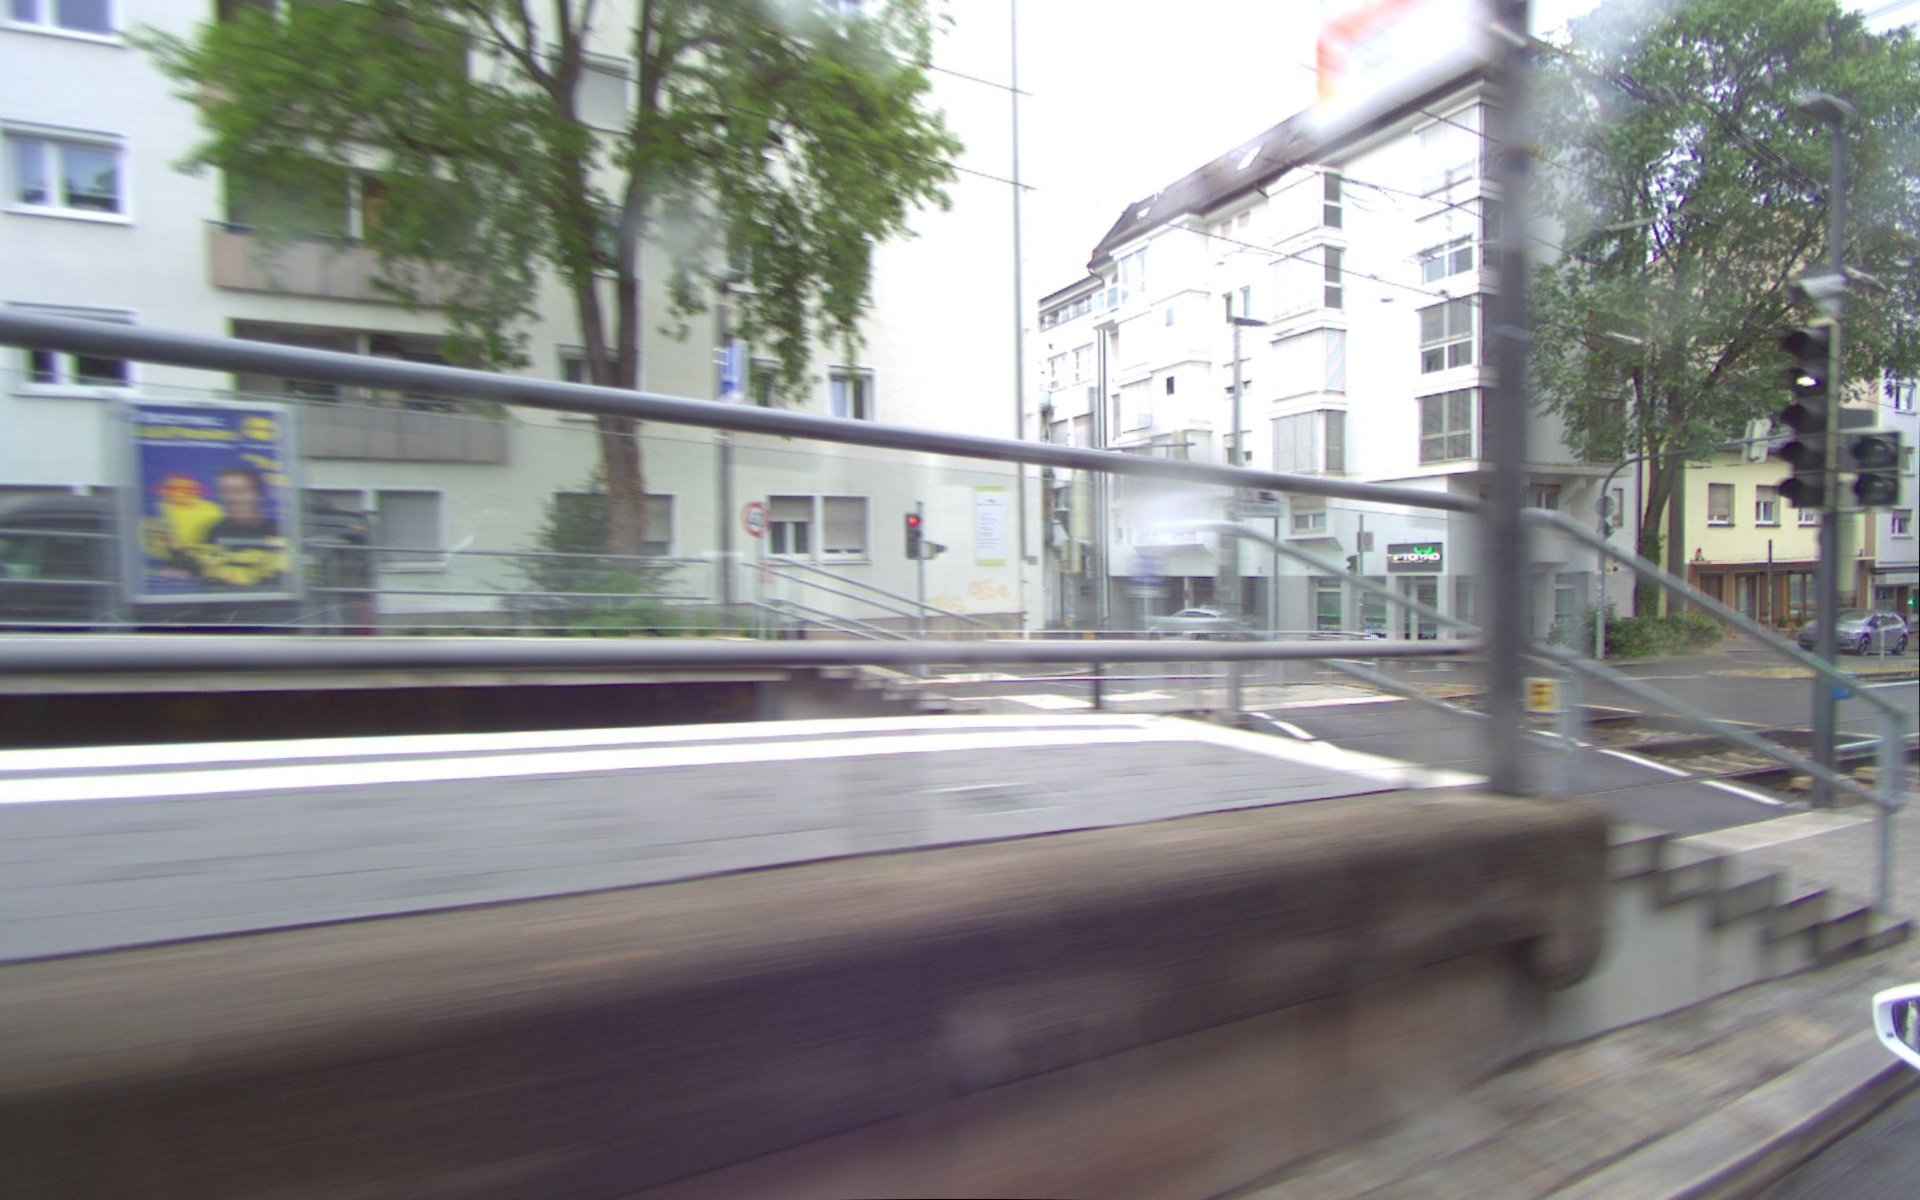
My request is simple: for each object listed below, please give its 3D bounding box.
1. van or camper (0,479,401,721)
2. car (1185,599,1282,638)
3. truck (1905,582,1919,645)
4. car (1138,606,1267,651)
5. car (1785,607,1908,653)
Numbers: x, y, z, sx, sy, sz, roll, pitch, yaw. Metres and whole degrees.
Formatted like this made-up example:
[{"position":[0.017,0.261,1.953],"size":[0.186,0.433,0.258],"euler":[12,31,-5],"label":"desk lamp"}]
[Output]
[{"position":[-10.349,0.025,13.550],"size":[4.810,2.842,1.982],"euler":[1,-1,-32],"label":"van or camper"},{"position":[11.392,0.761,41.749],"size":[3.956,1.555,1.690],"euler":[1,-1,-32],"label":"car"},{"position":[40.383,0.578,39.811],"size":[6.234,2.425,2.046],"euler":[1,0,-24],"label":"truck"},{"position":[8.543,0.990,35.871],"size":[1.974,1.492,4.699],"euler":[1,-1,-26],"label":"car"},{"position":[31.339,1.012,35.477],"size":[4.436,1.535,1.720],"euler":[0,0,-26],"label":"car"}]
